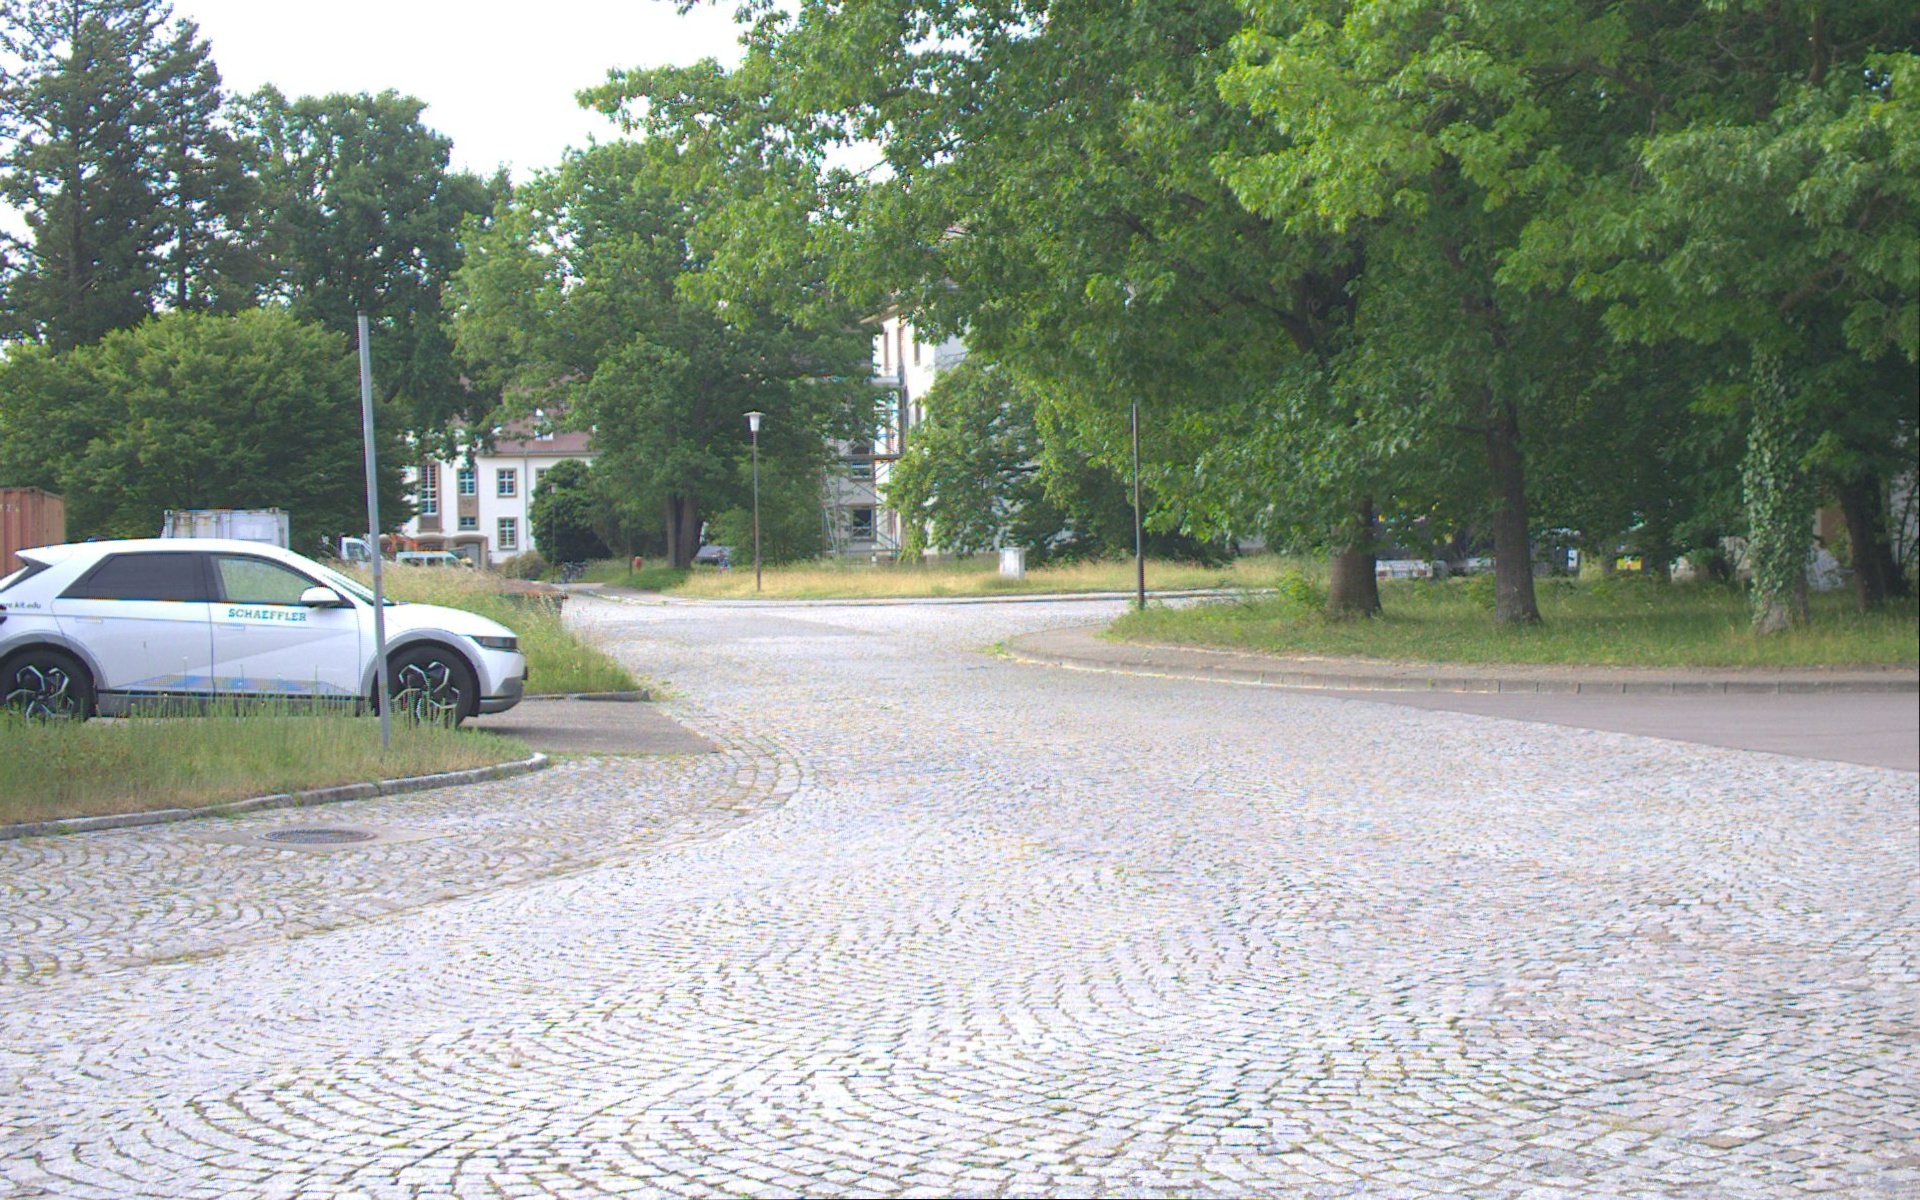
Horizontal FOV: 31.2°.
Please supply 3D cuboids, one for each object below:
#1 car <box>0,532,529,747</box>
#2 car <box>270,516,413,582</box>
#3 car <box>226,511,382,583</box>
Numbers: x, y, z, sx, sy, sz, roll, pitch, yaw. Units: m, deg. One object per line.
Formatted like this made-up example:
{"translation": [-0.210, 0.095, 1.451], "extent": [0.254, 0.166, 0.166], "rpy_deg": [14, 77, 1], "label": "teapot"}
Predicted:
{"translation": [-5.822, 0.293, 28.100], "extent": [4.533, 1.594, 2.000], "rpy_deg": [-1, 1, -7], "label": "car"}
{"translation": [-23.063, -1.909, 128.230], "extent": [5.169, 2.329, 2.001], "rpy_deg": [-1, 1, -10], "label": "car"}
{"translation": [-22.600, -1.833, 118.612], "extent": [5.169, 2.329, 2.001], "rpy_deg": [-1, 1, -10], "label": "car"}
